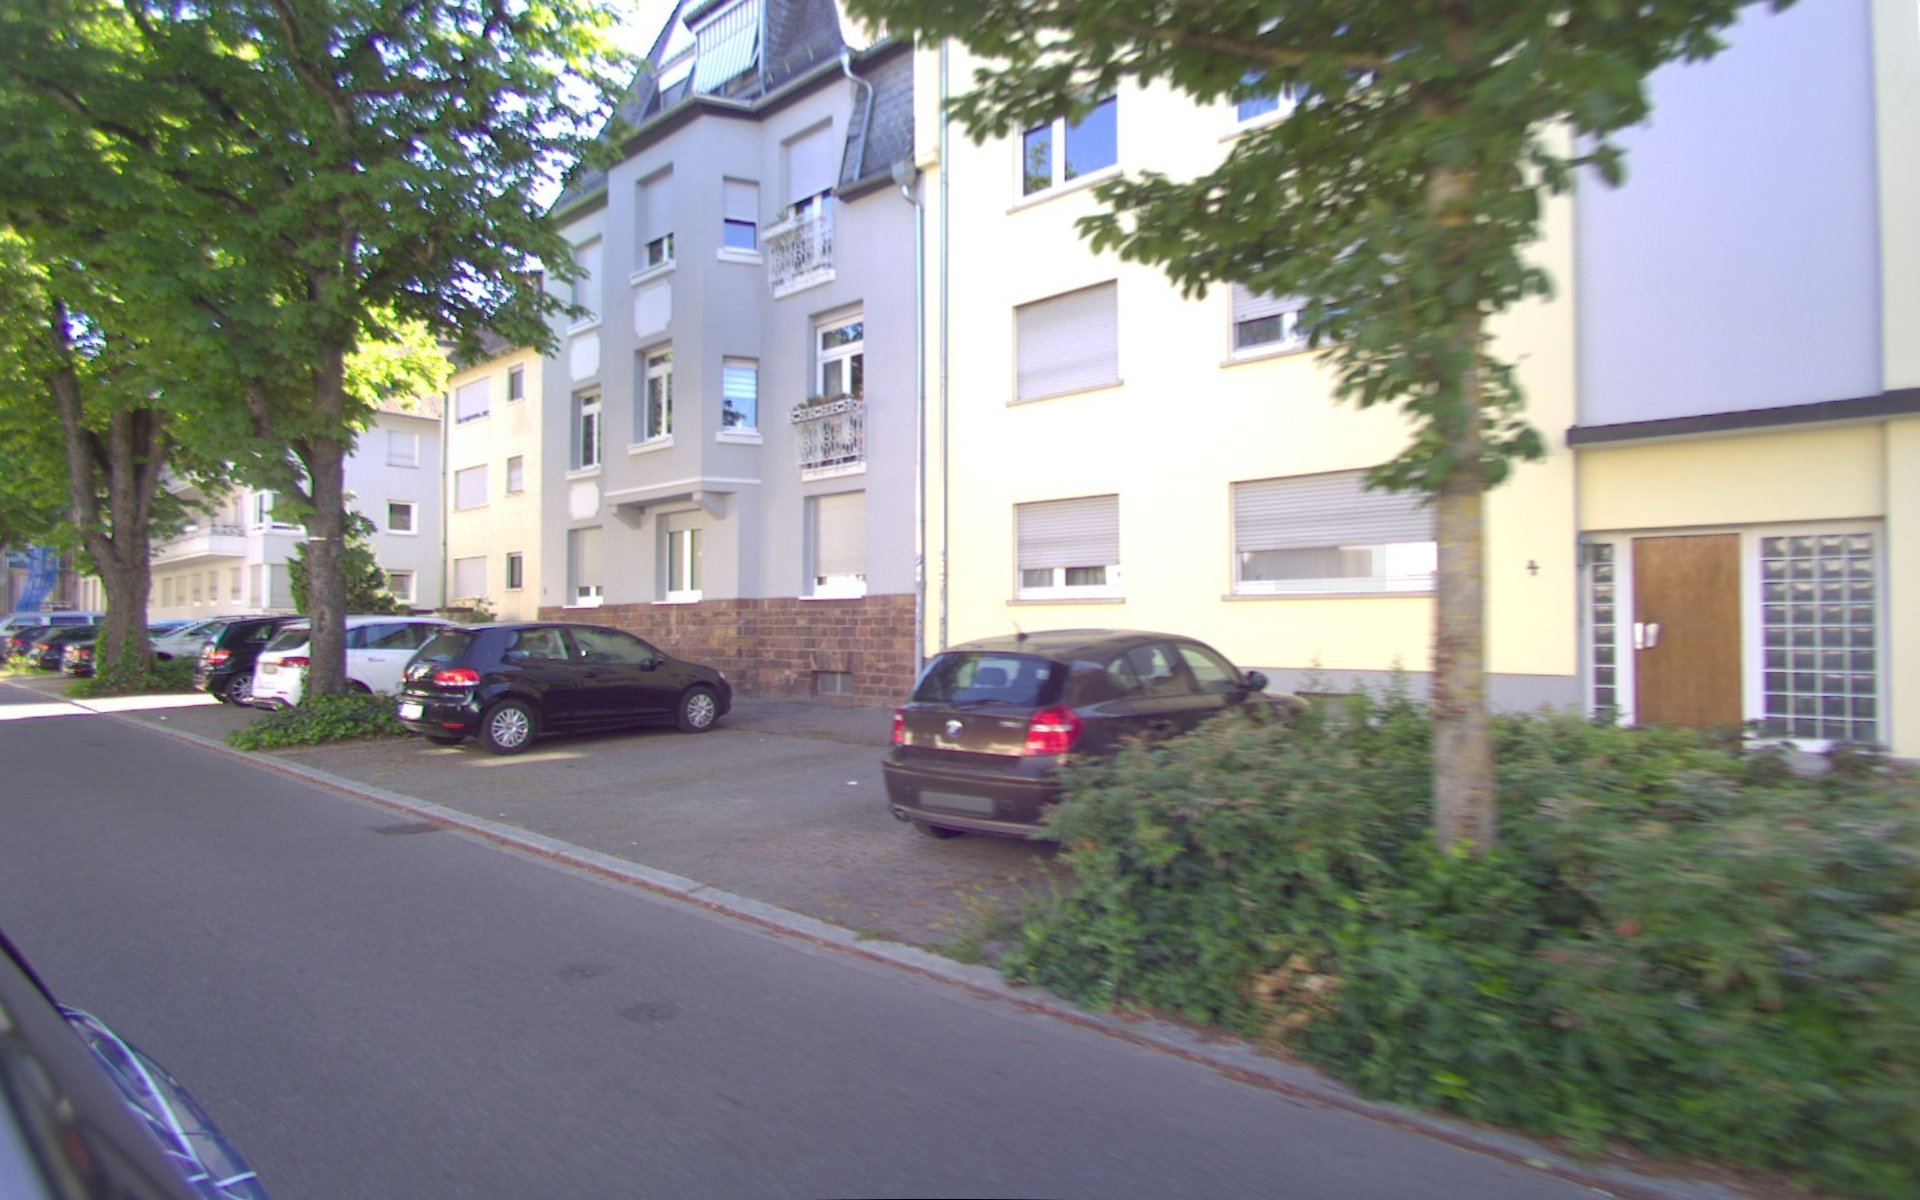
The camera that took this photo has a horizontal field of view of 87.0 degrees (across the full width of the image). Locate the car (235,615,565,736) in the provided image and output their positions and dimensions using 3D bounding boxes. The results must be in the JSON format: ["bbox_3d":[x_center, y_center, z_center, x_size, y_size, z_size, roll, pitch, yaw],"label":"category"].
[{"bbox_3d":[-8.320,1.026,15.305,1.805,1.496,3.982,-2,0,40],"label":"car"}]

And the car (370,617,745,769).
[{"bbox_3d":[-4.806,0.997,12.559,1.797,1.455,3.985,0,0,37],"label":"car"}]

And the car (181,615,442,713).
[{"bbox_3d":[-12.094,1.111,19.015,1.848,1.587,3.820,-2,-1,43],"label":"car"}]

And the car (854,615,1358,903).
[{"bbox_3d":[1.282,0.871,7.287,1.769,1.432,3.947,-3,-2,40],"label":"car"}]

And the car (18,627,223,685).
[{"bbox_3d":[-23.544,1.527,28.508,1.860,1.510,4.145,-1,-3,39],"label":"car"}]

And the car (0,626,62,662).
[{"bbox_3d":[-40.625,1.868,42.965,1.710,1.474,3.604,-1,0,43],"label":"car"}]

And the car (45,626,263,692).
[{"bbox_3d":[-19.772,1.406,24.961,1.696,1.479,3.946,-1,-3,40],"label":"car"}]

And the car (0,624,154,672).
[{"bbox_3d":[-30.455,1.611,34.953,1.662,1.510,3.902,-2,-1,43],"label":"car"}]

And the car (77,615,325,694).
[{"bbox_3d":[-17.508,1.184,23.503,1.822,1.665,4.339,-2,-2,42],"label":"car"}]

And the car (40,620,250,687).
[{"bbox_3d":[-21.263,1.356,26.527,1.876,1.604,3.947,-1,-3,39],"label":"car"}]

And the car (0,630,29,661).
[{"bbox_3d":[-50.880,2.411,52.213,1.827,1.525,3.841,-1,1,32],"label":"car"}]

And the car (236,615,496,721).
[{"bbox_3d":[-10.176,1.085,17.525,1.767,1.587,3.484,-2,-1,36],"label":"car"}]

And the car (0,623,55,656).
[{"bbox_3d":[-47.841,1.930,49.905,1.830,1.619,4.545,-1,-2,38],"label":"car"}]

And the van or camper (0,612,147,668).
[{"bbox_3d":[-32.571,1.428,36.756,1.963,1.929,4.450,-1,-2,40],"label":"van or camper"}]
